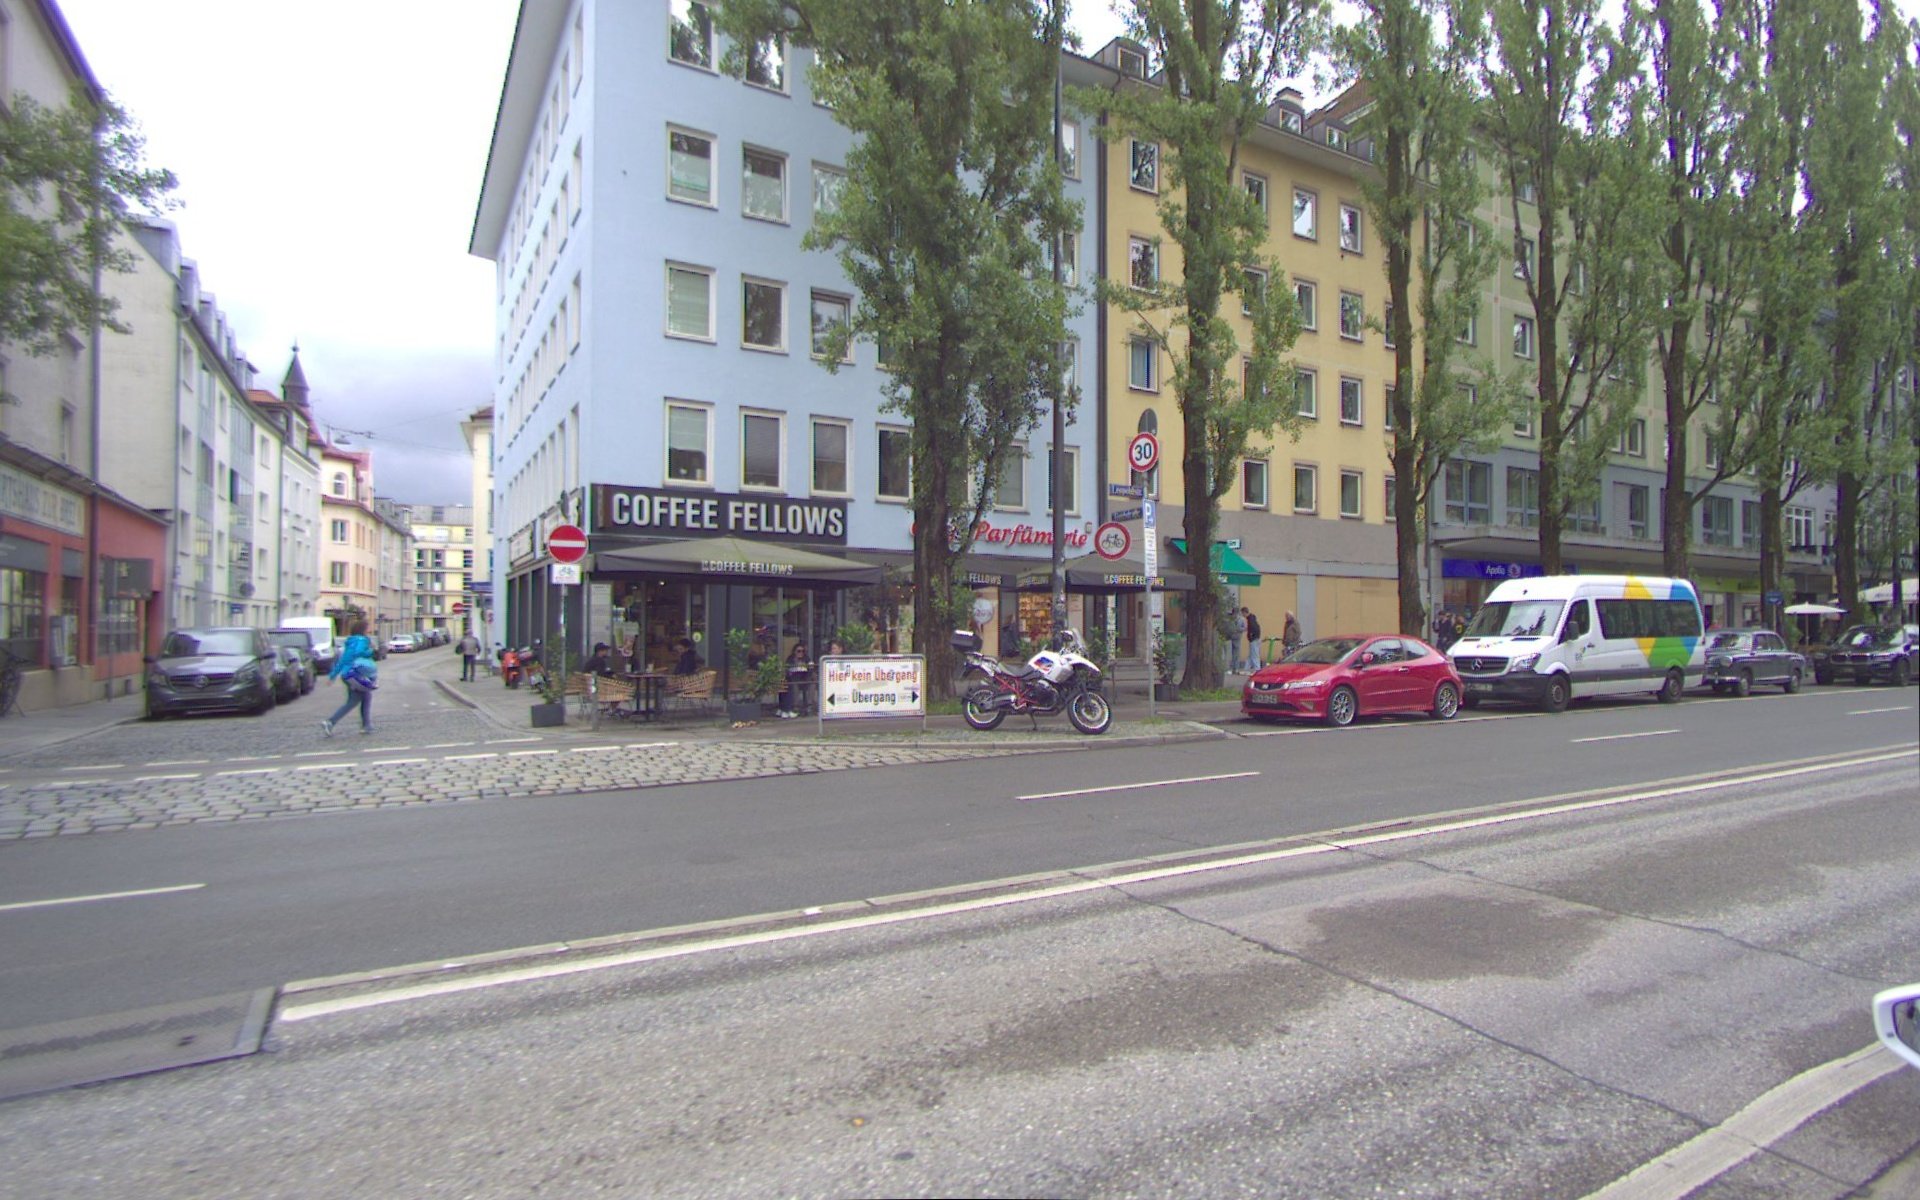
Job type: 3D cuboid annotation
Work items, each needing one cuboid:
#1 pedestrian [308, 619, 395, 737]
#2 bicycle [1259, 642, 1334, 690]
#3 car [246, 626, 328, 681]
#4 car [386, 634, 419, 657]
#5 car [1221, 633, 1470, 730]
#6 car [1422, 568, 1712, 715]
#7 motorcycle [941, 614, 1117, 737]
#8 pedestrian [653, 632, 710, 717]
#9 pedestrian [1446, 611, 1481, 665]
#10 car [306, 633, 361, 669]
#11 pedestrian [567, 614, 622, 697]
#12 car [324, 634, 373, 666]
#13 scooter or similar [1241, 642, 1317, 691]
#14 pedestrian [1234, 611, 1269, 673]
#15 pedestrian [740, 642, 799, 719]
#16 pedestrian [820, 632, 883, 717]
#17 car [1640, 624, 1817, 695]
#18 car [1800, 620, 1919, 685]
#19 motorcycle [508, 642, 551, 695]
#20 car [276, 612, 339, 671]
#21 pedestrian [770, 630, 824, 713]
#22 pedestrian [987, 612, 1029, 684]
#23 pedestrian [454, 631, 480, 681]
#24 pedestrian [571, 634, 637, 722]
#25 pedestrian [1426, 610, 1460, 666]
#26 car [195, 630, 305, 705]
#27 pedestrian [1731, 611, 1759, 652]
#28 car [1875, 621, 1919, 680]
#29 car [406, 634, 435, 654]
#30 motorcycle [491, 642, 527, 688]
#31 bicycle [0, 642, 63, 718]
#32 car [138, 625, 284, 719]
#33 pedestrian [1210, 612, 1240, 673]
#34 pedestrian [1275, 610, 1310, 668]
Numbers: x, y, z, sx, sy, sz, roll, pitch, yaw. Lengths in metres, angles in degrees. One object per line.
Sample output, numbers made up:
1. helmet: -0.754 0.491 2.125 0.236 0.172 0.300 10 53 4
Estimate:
1. pedestrian: -8.988 1.124 14.845 0.690 1.668 0.945 -1 -2 44
2. bicycle: 7.693 1.498 23.052 0.417 1.040 1.763 1 -2 -32
3. car: -23.610 1.870 35.397 2.093 1.789 4.551 1 -3 -30
4. car: -44.575 3.616 80.385 1.956 1.789 4.561 1 -3 -24
5. car: 6.511 1.291 16.874 4.100 1.438 1.729 1 -3 -31
6. car: 12.436 0.822 20.371 6.831 2.601 1.996 1 -3 -31
7. motorcycle: 0.953 1.003 13.846 2.301 1.584 0.715 0 0 18
8. pedestrian: -4.702 1.239 16.941 0.808 1.380 0.695 1 -2 -27
9. pedestrian: 16.140 1.211 32.198 0.717 1.722 0.695 1 -1 -26
10. car: -33.090 2.696 53.160 1.957 1.789 4.559 1 -3 -26
11. pedestrian: -8.037 1.206 22.085 0.933 1.796 0.699 -1 -2 30
12. car: -35.853 2.941 59.002 1.957 1.789 4.558 1 -3 -26
13. scooter or similar: 7.179 1.484 22.683 0.417 1.040 1.763 1 -2 -32
14. pedestrian: 7.861 1.127 27.100 0.713 1.657 0.699 0 -1 -6
15. pedestrian: -3.105 1.286 16.353 0.692 1.198 0.811 1 -2 -32
16. pedestrian: -1.825 1.220 16.832 0.838 1.380 0.694 1 -2 -31
17. car: 18.414 1.380 24.039 4.363 1.572 1.858 1 -3 -31
18. car: 25.679 1.449 28.126 4.557 1.686 1.858 1 -3 -31
19. motorcycle: -10.785 1.675 25.113 0.729 1.219 2.748 -1 -1 -29
20. car: -28.486 1.830 43.982 1.959 2.396 4.553 1 -3 -29
21. pedestrian: -2.787 1.195 17.118 0.692 1.380 0.709 1 -2 -32
22. pedestrian: 1.166 1.161 24.525 0.775 1.708 0.753 1 -1 -27
23. pedestrian: -16.869 1.904 34.373 0.693 1.668 0.859 1 -2 -34
24. pedestrian: -5.832 1.254 16.436 0.938 1.380 0.695 1 -2 -28
25. pedestrian: 15.820 1.241 32.906 0.717 1.818 0.695 1 -1 -26
26. car: -18.716 1.740 26.683 1.960 1.789 4.551 1 -3 -30
27. pedestrian: 33.682 1.355 43.090 0.667 1.708 0.753 2 -2 -29
28. car: 30.039 1.534 31.007 3.881 1.743 1.700 1 -3 -33
29. car: -48.833 3.995 91.017 1.955 1.789 4.562 0 -3 -24
30. motorcycle: -13.066 1.849 29.041 0.729 1.219 2.748 -1 -1 -29
31. bicycle: -16.532 1.373 17.713 0.638 1.220 2.328 1 -2 -31
32. car: -15.817 1.475 21.451 1.960 1.789 4.551 1 -3 -30
33. pedestrian: 7.231 1.153 27.424 0.553 1.657 0.699 0 -1 -6
34. pedestrian: 9.750 1.144 29.462 0.718 1.657 0.695 1 -1 -28
